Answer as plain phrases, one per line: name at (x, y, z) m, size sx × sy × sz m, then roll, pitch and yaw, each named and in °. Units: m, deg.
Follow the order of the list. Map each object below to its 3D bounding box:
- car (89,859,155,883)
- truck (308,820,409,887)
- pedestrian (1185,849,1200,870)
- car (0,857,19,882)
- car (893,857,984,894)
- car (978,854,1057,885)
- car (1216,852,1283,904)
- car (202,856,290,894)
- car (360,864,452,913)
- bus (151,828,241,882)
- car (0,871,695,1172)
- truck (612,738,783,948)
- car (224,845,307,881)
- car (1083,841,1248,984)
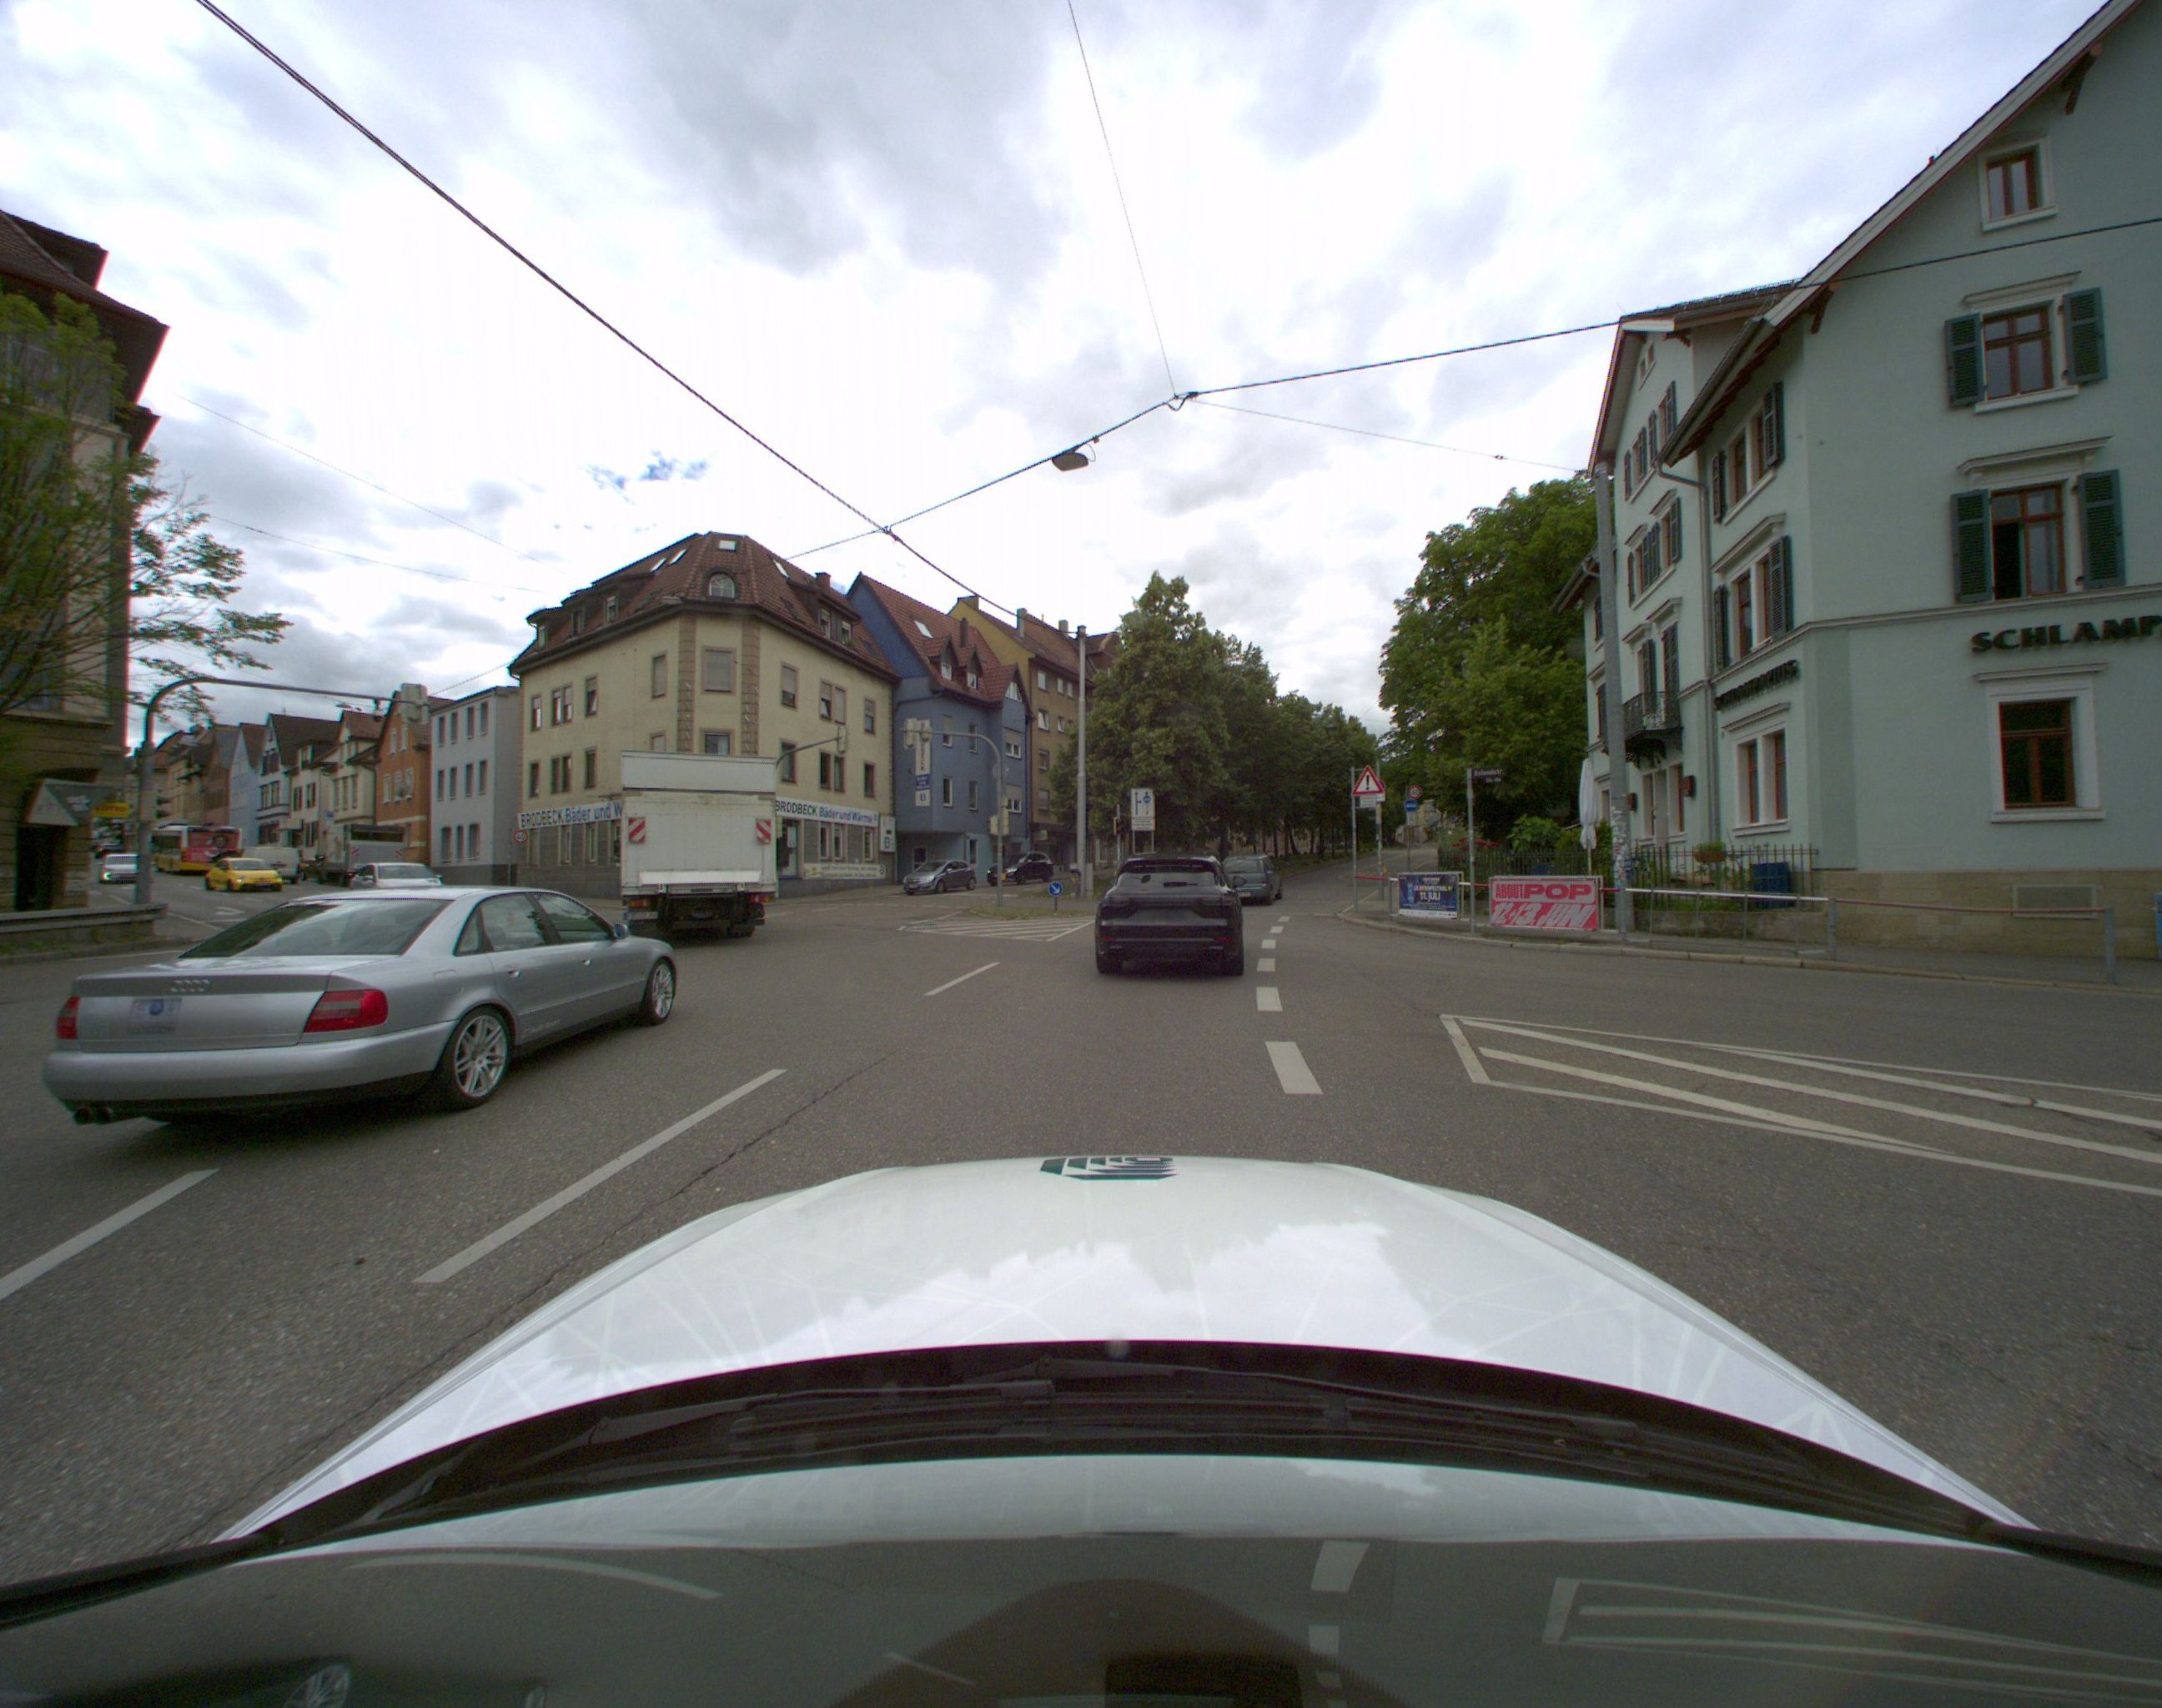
car at (-49.008, 0.854, 41.595) m, size 3.624 × 1.127 × 1.774 m, roll 0°, pitch 0°, yaw 34°
truck at (-38.525, -0.044, 43.387) m, size 5.369 × 3.354 × 2.716 m, roll 1°, pitch -1°, yaw 34°
pedestrian at (10.640, 0.492, 77.537) m, size 1.181 × 2.013 × 0.994 m, roll 0°, pitch 0°, yaw 23°
car at (-67.689, 0.943, 50.594) m, size 3.948 × 1.535 × 1.859 m, roll 0°, pitch 0°, yaw 34°
car at (-6.176, 0.895, 35.822) m, size 1.700 × 1.476 × 4.243 m, roll -2°, pitch -1°, yaw 26°
car at (-3.234, 0.786, 42.395) m, size 1.852 × 1.416 × 4.727 m, roll -1°, pitch 1°, yaw 27°
car at (5.576, 0.740, 26.618) m, size 1.635 × 1.556 × 3.600 m, roll 1°, pitch -1°, yaw 20°
car at (-37.683, 0.892, 36.744) m, size 3.948 × 1.601 × 2.013 m, roll 0°, pitch 1°, yaw 33°
car at (-21.890, 1.075, 26.374) m, size 3.926 × 1.469 × 1.892 m, roll -1°, pitch -1°, yaw 45°
bus at (-56.748, 0.085, 52.153) m, size 7.563 × 3.243 × 2.829 m, roll 0°, pitch 0°, yaw 34°
car at (-4.602, 0.881, 6.116) m, size 1.625 × 1.365 × 4.123 m, roll 1°, pitch 0°, yaw -4°
truck at (-8.673, -0.101, 18.081) m, size 2.741 × 3.544 × 8.343 m, roll 0°, pitch -1°, yaw -28°
car at (-43.634, 0.450, 43.562) m, size 4.280 × 1.799 × 2.078 m, roll 0°, pitch 0°, yaw 30°
car at (1.444, 0.720, 12.314) m, size 2.019 × 1.723 × 4.513 m, roll 1°, pitch 0°, yaw 10°
